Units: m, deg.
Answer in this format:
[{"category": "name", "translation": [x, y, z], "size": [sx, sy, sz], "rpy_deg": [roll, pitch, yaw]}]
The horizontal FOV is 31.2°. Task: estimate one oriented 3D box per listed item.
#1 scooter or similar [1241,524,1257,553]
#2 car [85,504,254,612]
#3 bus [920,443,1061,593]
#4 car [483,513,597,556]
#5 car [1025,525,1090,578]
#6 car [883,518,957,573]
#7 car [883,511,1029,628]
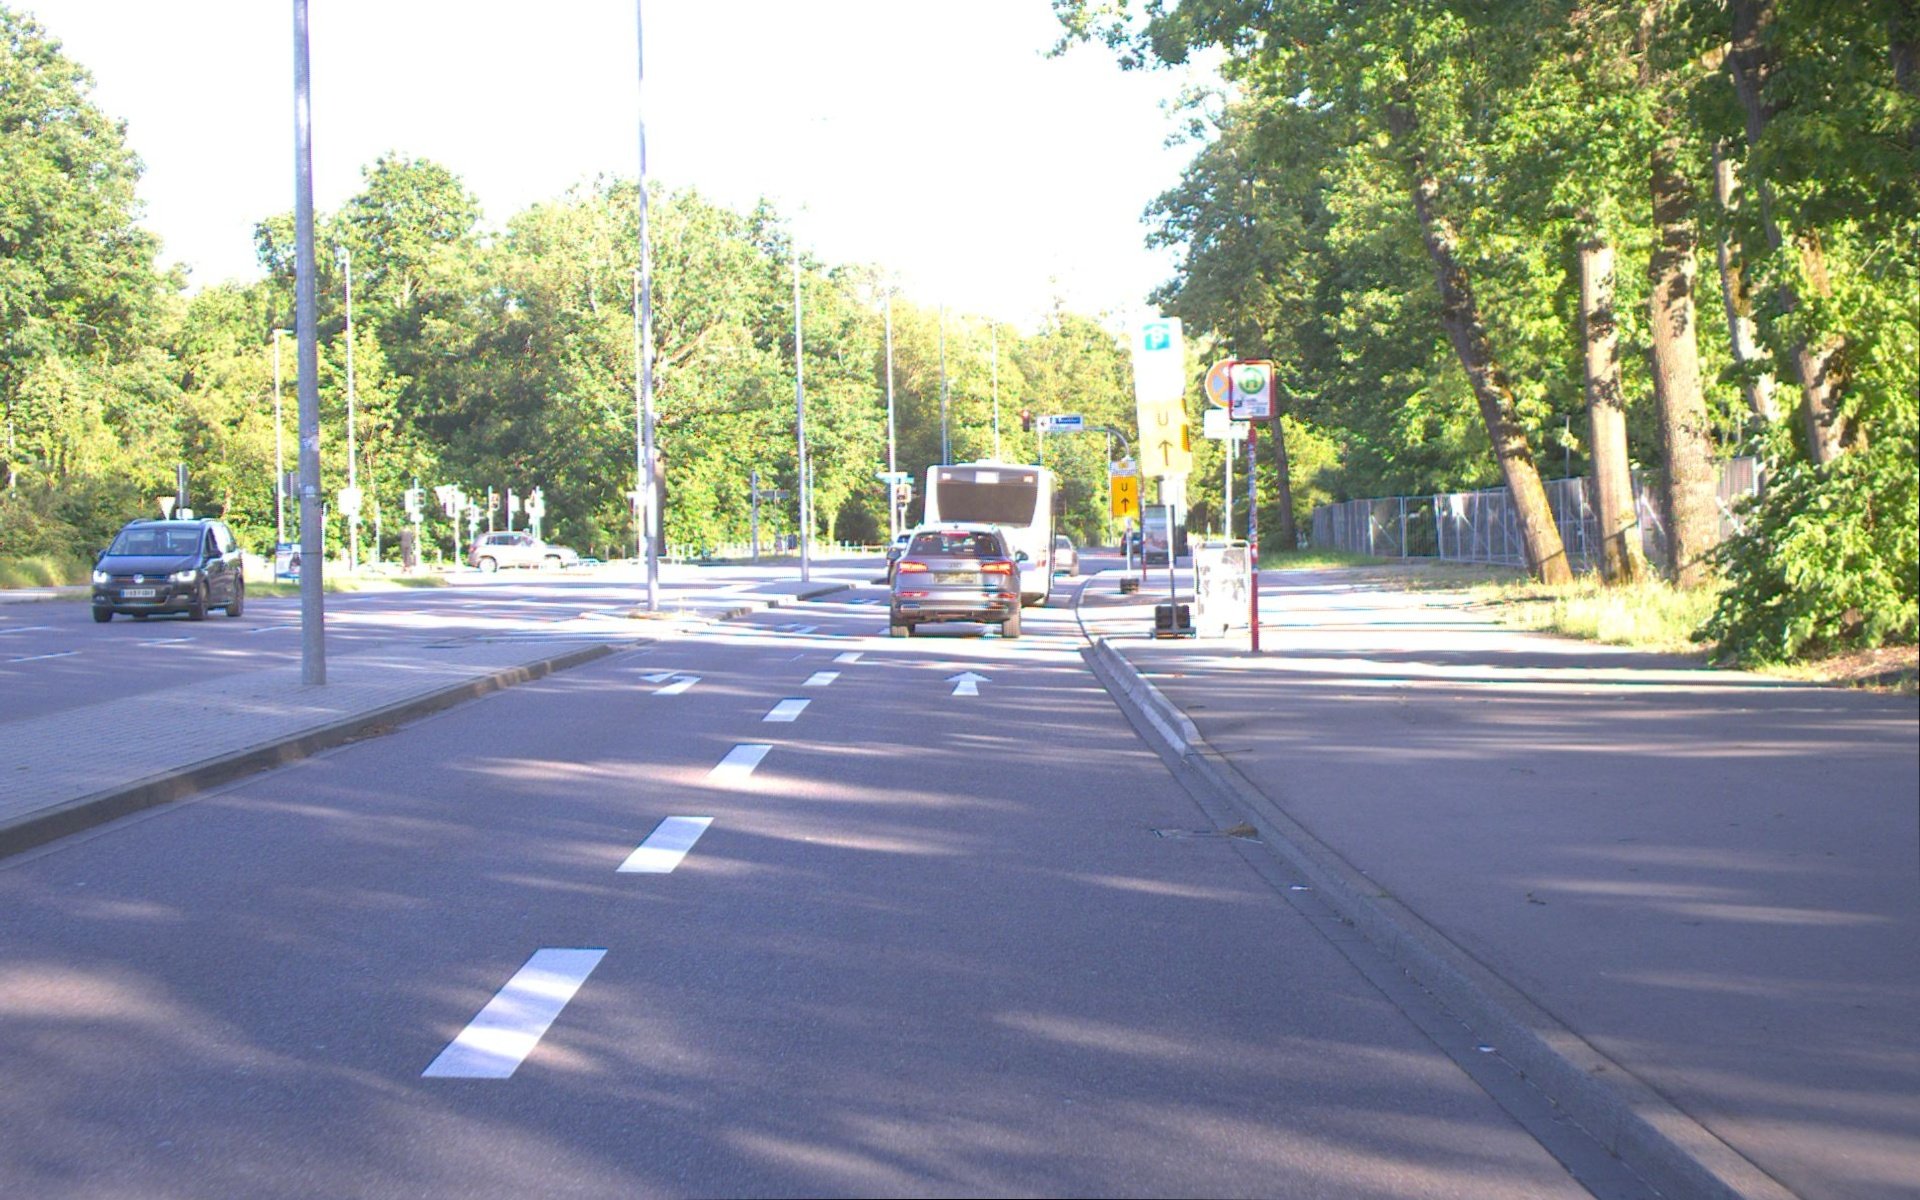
[{"category": "scooter or similar", "translation": [14.224, -3.034, 169.087], "size": [0.508, 1.439, 2.023], "rpy_deg": [-1, 1, -2]}, {"category": "car", "translation": [-13.253, -0.744, 57.887], "size": [1.783, 1.686, 4.703], "rpy_deg": [1, 2, -1]}, {"category": "bus", "translation": [0.751, -1.717, 73.872], "size": [2.595, 2.978, 9.326], "rpy_deg": [1, 1, 3]}, {"category": "car", "translation": [-16.760, -2.623, 137.378], "size": [4.218, 1.579, 2.104], "rpy_deg": [-2, 1, 1]}, {"category": "car", "translation": [3.318, -1.649, 116.333], "size": [1.910, 1.722, 4.578], "rpy_deg": [1, 1, 5]}, {"category": "car", "translation": [-1.121, -1.571, 98.057], "size": [1.836, 1.513, 4.000], "rpy_deg": [0, 1, 3]}, {"category": "car", "translation": [-0.017, -0.478, 50.359], "size": [1.899, 1.626, 4.000], "rpy_deg": [1, 1, 3]}]
